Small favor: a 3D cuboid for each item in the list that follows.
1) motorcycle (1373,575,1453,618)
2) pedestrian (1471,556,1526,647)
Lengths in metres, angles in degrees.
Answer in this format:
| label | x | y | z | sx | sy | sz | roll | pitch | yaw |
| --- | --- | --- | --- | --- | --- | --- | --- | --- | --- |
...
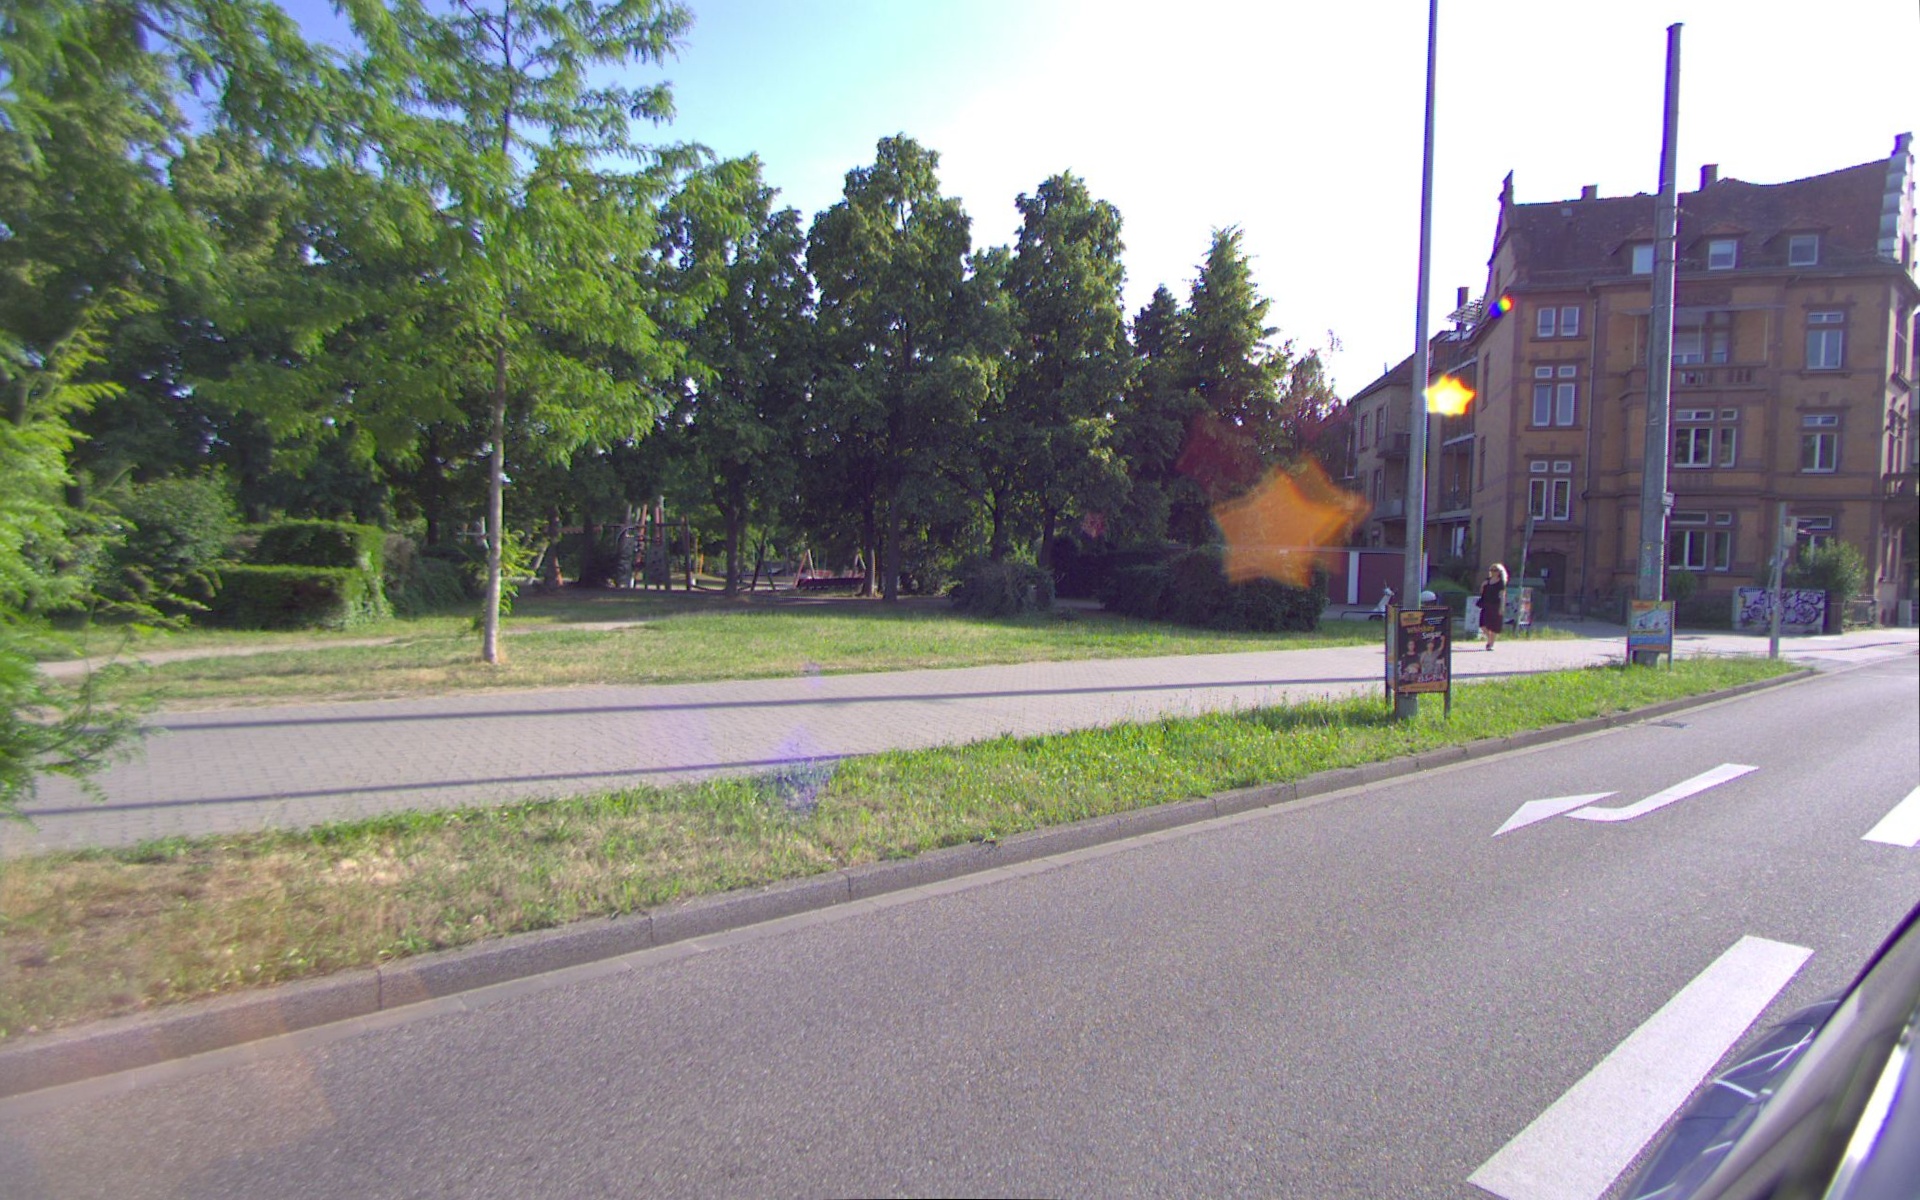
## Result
| label | x | y | z | sx | sy | sz | roll | pitch | yaw |
| --- | --- | --- | --- | --- | --- | --- | --- | --- | --- |
| motorcycle | 13.150 | -0.121 | 29.417 | 0.696 | 1.174 | 1.997 | 0 | 1 | -45 |
| pedestrian | 10.725 | 0.022 | 20.159 | 0.538 | 1.711 | 0.618 | 1 | 6 | -36 |
